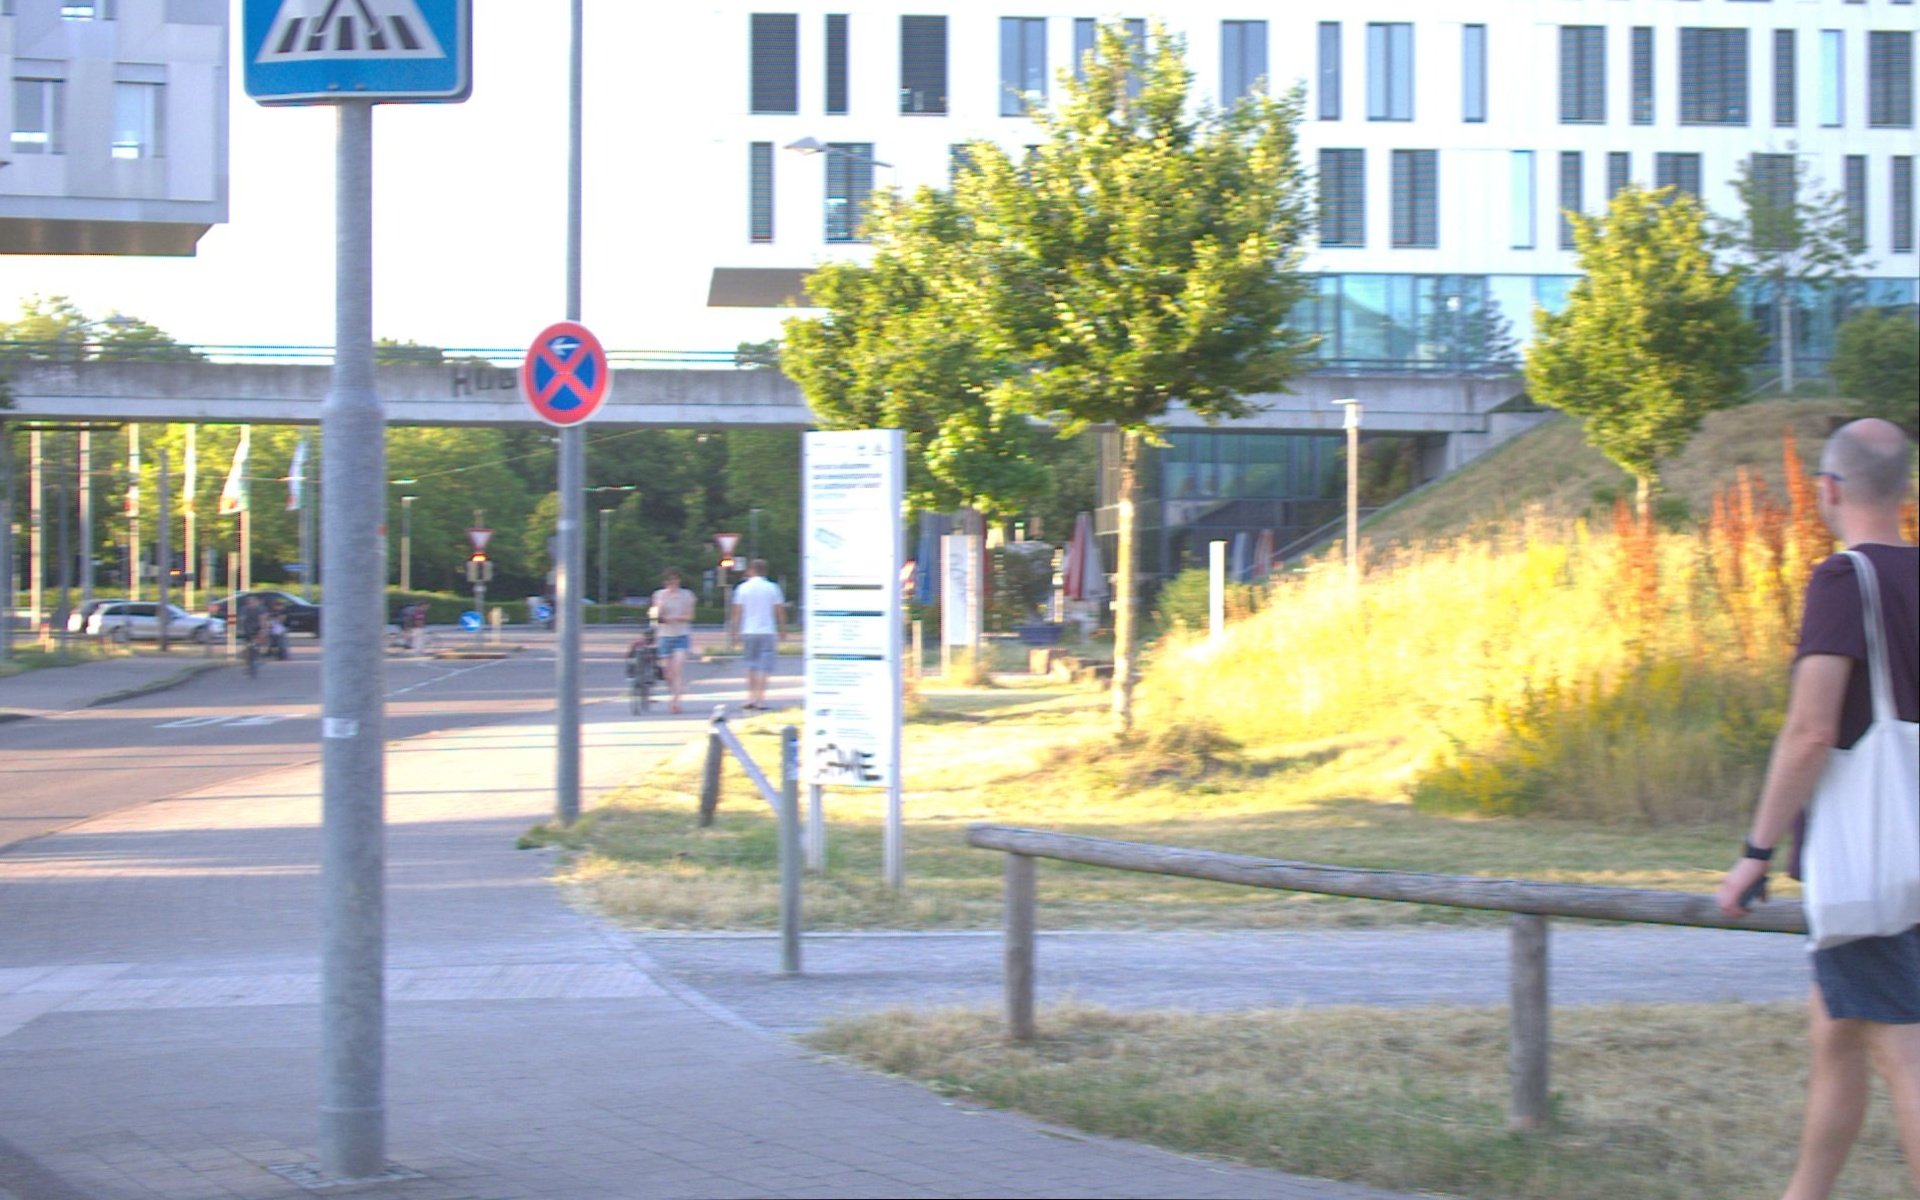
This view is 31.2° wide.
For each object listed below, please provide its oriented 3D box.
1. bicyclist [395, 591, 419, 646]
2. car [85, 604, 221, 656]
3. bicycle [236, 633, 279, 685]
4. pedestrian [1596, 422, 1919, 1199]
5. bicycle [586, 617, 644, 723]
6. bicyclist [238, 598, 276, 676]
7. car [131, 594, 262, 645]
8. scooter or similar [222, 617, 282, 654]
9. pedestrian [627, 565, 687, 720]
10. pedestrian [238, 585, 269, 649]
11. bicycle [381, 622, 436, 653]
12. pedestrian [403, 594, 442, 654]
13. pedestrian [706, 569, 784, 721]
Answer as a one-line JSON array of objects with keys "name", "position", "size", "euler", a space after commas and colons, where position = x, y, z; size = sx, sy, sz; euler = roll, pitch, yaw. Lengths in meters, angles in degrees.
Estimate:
[{"name": "bicyclist", "position": [-17.462, 0.581, 108.577], "size": [0.766, 1.698, 0.512], "euler": [0, 1, -8]}, {"name": "car", "position": [-27.872, 1.030, 118.842], "size": [4.413, 1.718, 1.835], "euler": [0, 1, -6]}, {"name": "bicycle", "position": [-15.168, 1.270, 74.262], "size": [0.538, 1.039, 1.925], "euler": [0, 1, 0]}, {"name": "pedestrian", "position": [1.724, 0.550, 6.847], "size": [0.732, 1.778, 0.802], "euler": [0, 1, -2]}, {"name": "bicycle", "position": [-4.057, 0.809, 40.519], "size": [0.450, 1.164, 1.941], "euler": [0, 1, 1]}, {"name": "bicyclist", "position": [-15.174, 0.790, 74.229], "size": [0.614, 1.657, 1.036], "euler": [0, 1, 0]}, {"name": "car", "position": [-27.728, 0.707, 124.898], "size": [4.413, 1.793, 1.835], "euler": [0, 1, -4]}, {"name": "scooter or similar", "position": [-22.311, 1.115, 108.316], "size": [1.859, 1.170, 0.764], "euler": [0, 1, -13]}, {"name": "pedestrian", "position": [-3.555, 0.490, 40.374], "size": [0.594, 1.795, 0.818], "euler": [0, 1, 2]}, {"name": "pedestrian", "position": [-22.262, 0.530, 108.330], "size": [0.908, 1.984, 0.772], "euler": [0, 1, -13]}, {"name": "bicycle", "position": [-17.415, 1.180, 108.599], "size": [1.693, 0.945, 0.512], "euler": [0, 1, -11]}, {"name": "pedestrian", "position": [-16.494, 0.733, 105.557], "size": [1.053, 1.827, 0.895], "euler": [0, 1, -18]}, {"name": "pedestrian", "position": [-2.539, 0.525, 40.664], "size": [0.831, 1.760, 0.818], "euler": [0, 1, 2]}]
